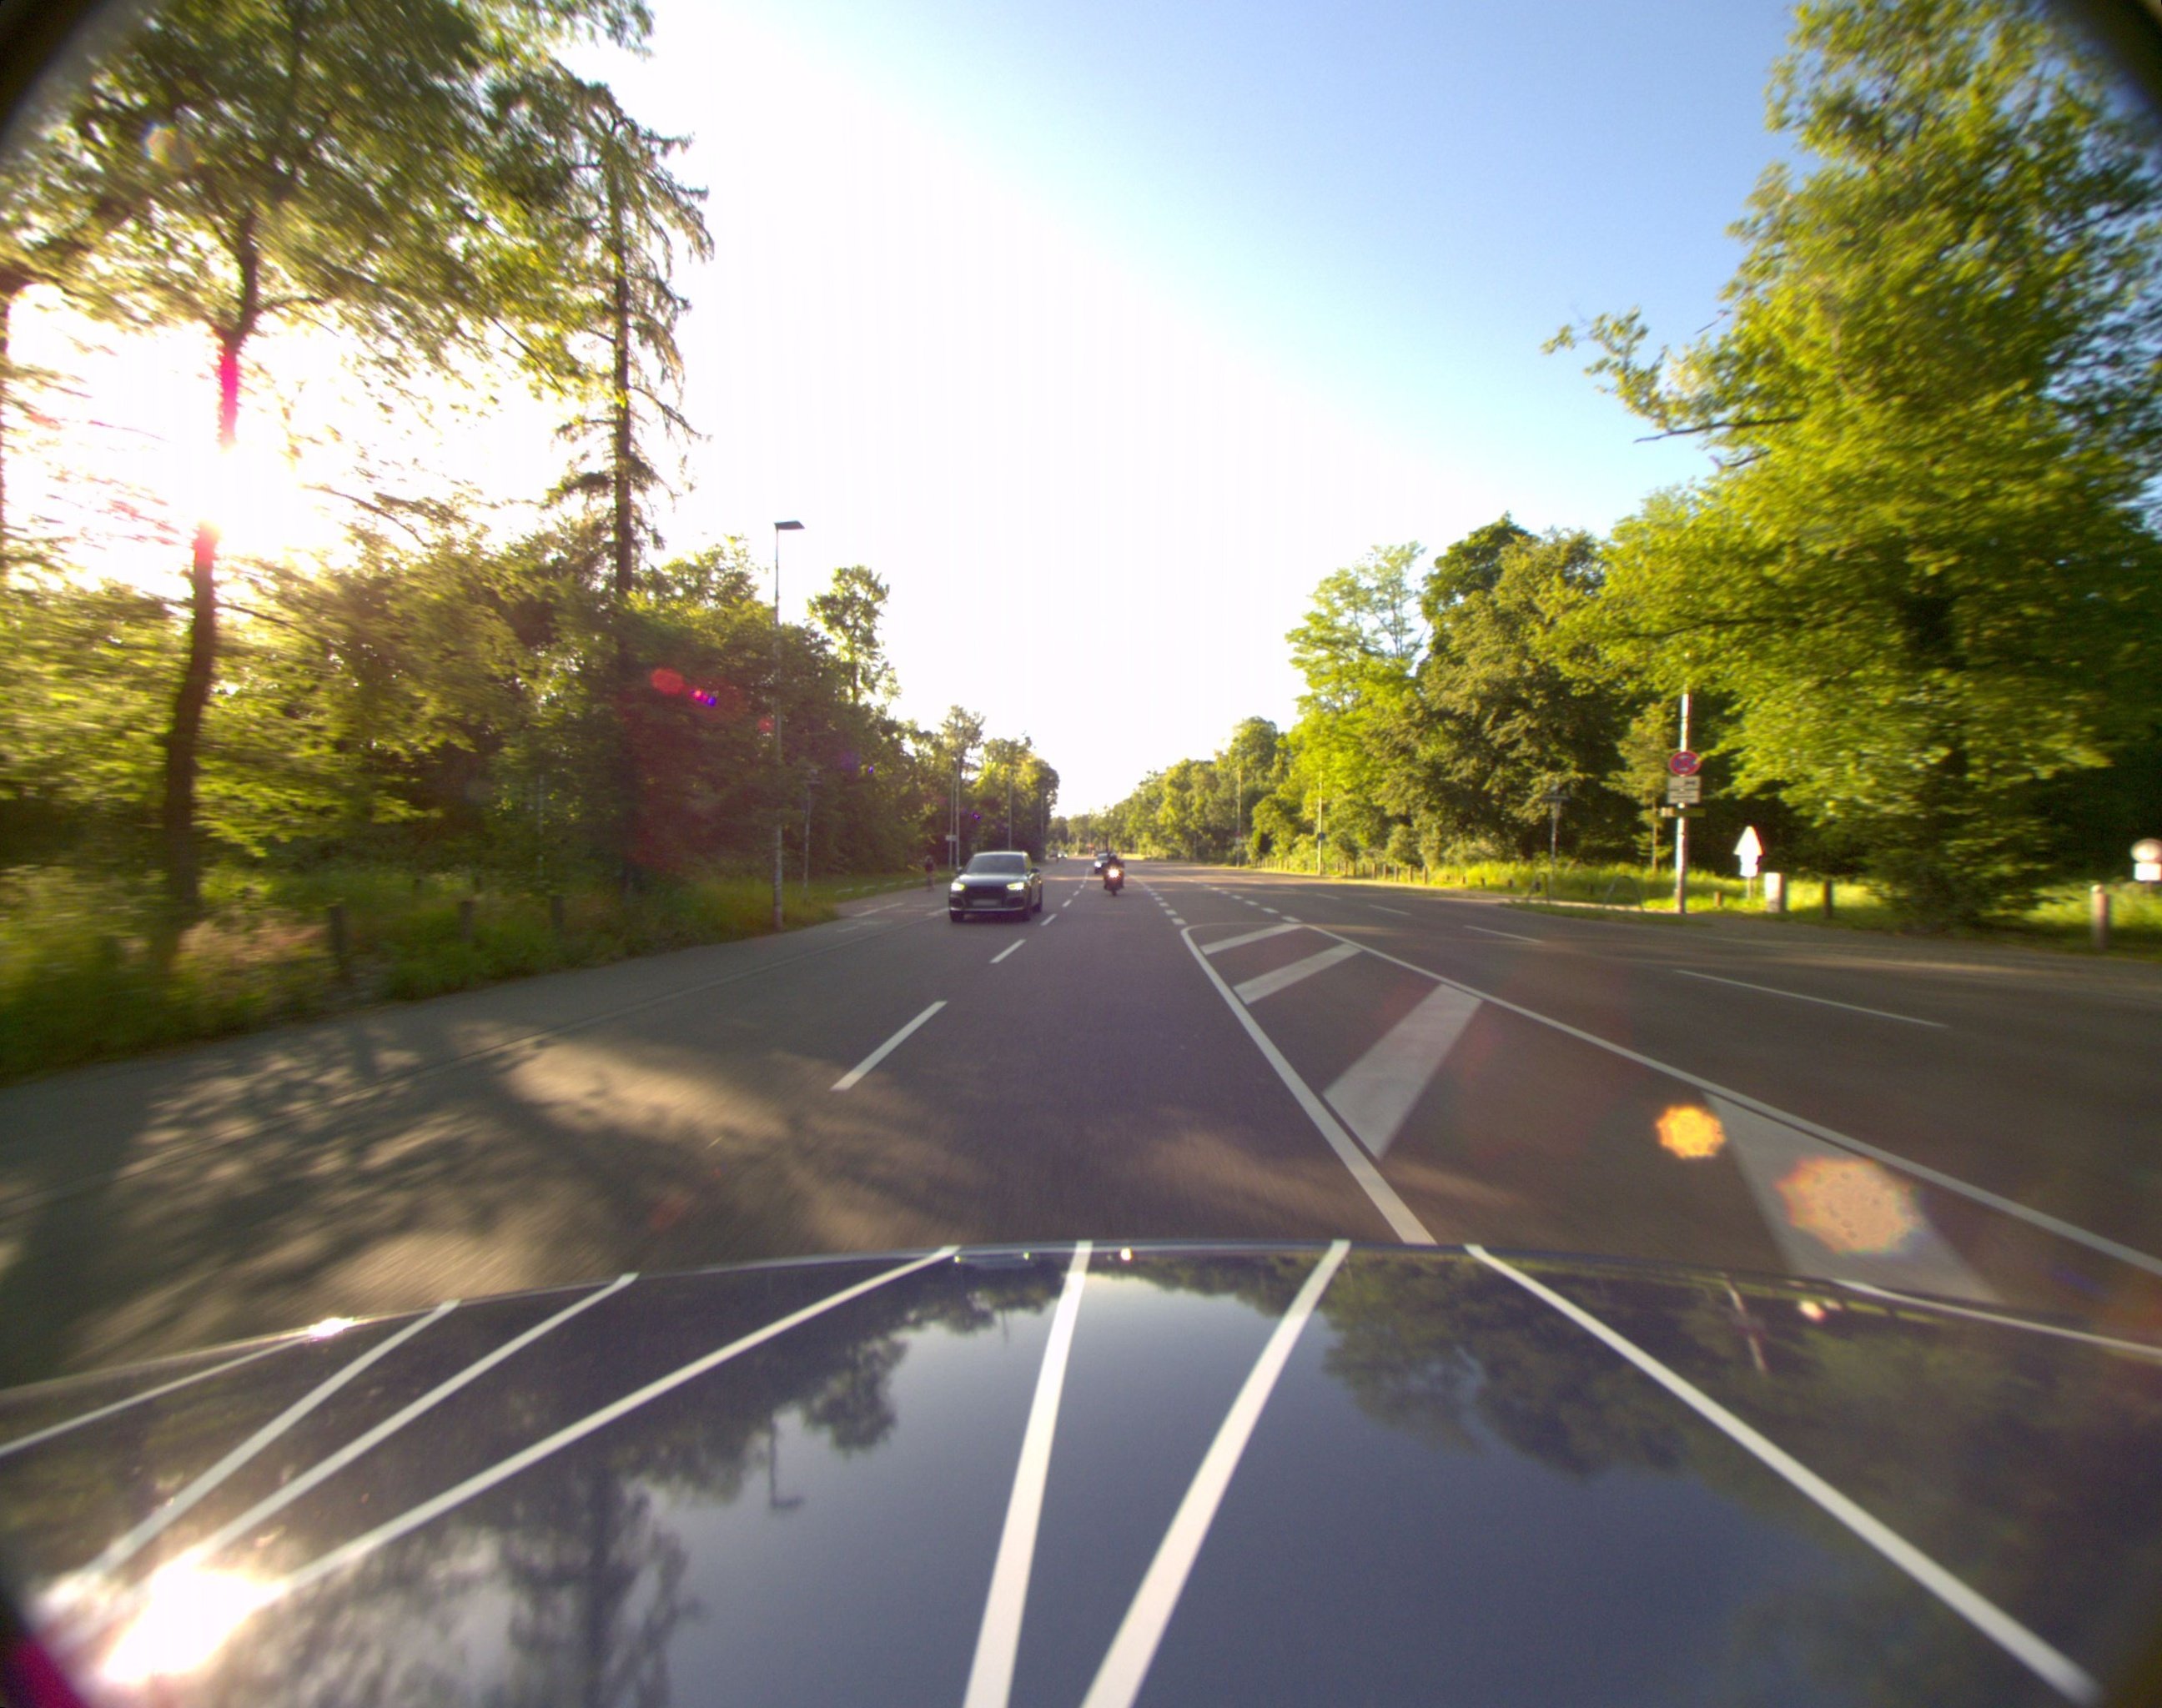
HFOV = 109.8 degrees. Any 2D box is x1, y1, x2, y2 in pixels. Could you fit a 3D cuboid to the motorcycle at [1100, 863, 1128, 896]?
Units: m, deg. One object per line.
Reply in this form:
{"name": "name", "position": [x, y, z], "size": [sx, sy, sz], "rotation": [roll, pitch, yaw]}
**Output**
{"name": "motorcycle", "position": [1.275, 0.932, 28.579], "size": [0.956, 1.098, 3.340], "rotation": [-2, 0, 3]}

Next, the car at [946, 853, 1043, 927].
{"name": "car", "position": [-2.037, 0.820, 19.087], "size": [1.861, 1.608, 4.000], "rotation": [0, 1, 2]}

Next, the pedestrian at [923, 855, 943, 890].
{"name": "pedestrian", "position": [-6.582, 0.817, 33.824], "size": [0.642, 1.510, 0.760], "rotation": [-2, 1, 1]}

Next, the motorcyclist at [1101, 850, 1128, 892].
{"name": "motorcyclist", "position": [1.264, 0.618, 28.556], "size": [0.952, 1.523, 1.074], "rotation": [-2, 0, 3]}

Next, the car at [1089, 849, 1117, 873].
{"name": "car", "position": [1.634, 0.494, 56.986], "size": [1.998, 1.761, 4.231], "rotation": [0, 0, 1]}
